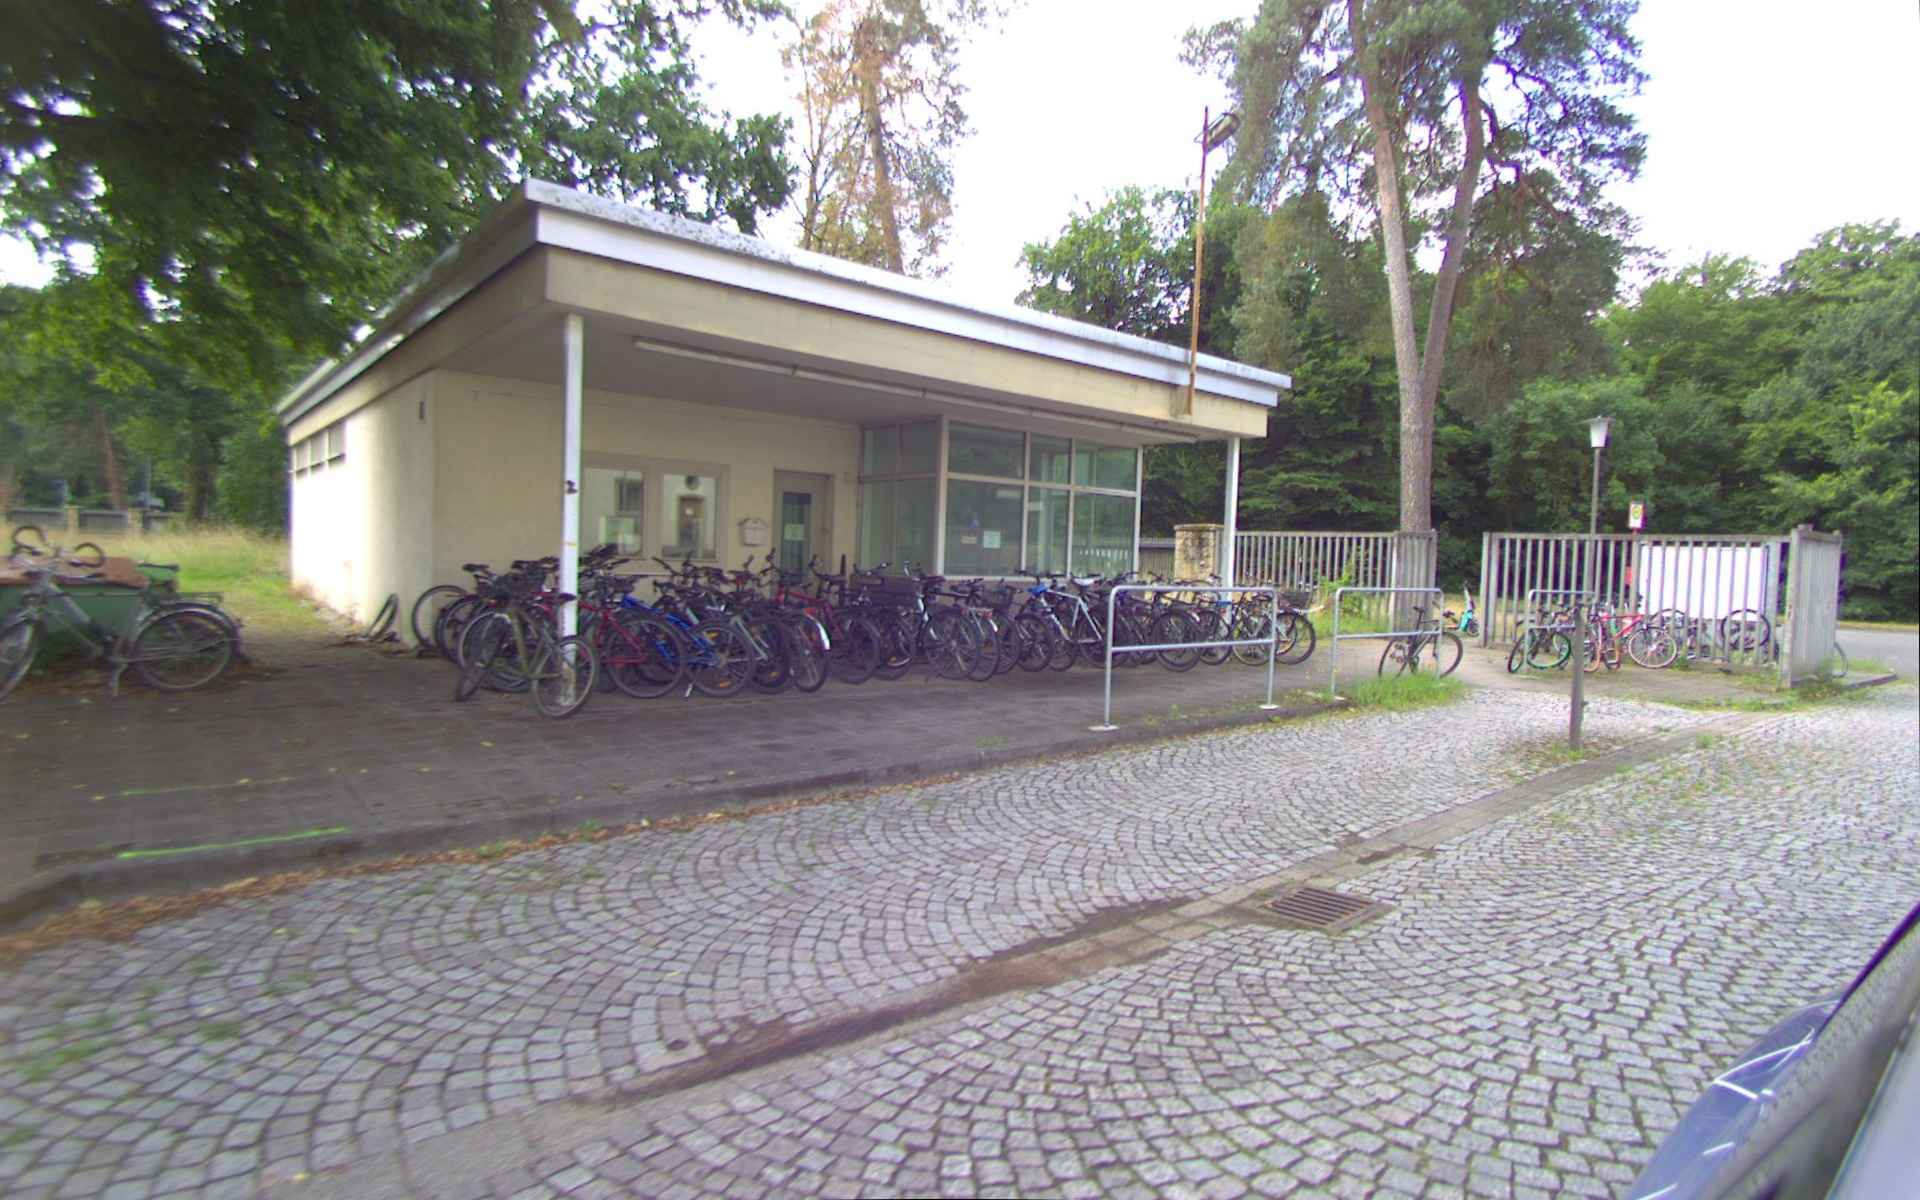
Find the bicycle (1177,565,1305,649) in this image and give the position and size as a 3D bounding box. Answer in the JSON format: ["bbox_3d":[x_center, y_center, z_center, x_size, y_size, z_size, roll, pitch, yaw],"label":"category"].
[{"bbox_3d":[4.087,0.094,14.804,1.710,1.146,0.473,2,2,6],"label":"bicycle"}]

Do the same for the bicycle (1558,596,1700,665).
[{"bbox_3d":[11.062,0.478,16.785,0.495,0.950,1.864,0,5,-45],"label":"bicycle"}]

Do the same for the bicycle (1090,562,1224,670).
[{"bbox_3d":[2.376,0.159,12.357,1.613,1.154,0.320,6,5,43],"label":"bicycle"}]

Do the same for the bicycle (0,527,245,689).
[{"bbox_3d":[-6.515,0.042,7.772,1.607,1.130,0.598,0,5,-42],"label":"bicycle"}]

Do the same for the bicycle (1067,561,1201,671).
[{"bbox_3d":[2.055,0.161,12.151,1.613,1.154,0.320,6,5,43],"label":"bicycle"}]

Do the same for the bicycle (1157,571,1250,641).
[{"bbox_3d":[3.734,0.097,15.512,1.328,1.022,0.407,1,2,-17],"label":"bicycle"}]

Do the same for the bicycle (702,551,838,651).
[{"bbox_3d":[-2.242,-0.007,12.103,0.478,1.088,1.658,6,4,38],"label":"bicycle"}]

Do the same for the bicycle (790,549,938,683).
[{"bbox_3d":[-1.014,0.127,10.425,1.627,1.204,0.414,6,4,38],"label":"bicycle"}]

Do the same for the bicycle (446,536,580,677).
[{"bbox_3d":[-4.352,0.015,9.789,0.598,1.179,1.743,0,5,-44],"label":"bicycle"}]

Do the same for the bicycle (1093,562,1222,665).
[{"bbox_3d":[2.491,0.143,12.890,1.613,1.154,0.350,6,5,43],"label":"bicycle"}]

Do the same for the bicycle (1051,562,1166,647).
[{"bbox_3d":[2.075,0.047,13.998,1.801,1.088,0.491,0,4,-42],"label":"bicycle"}]

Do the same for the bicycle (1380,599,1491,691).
[{"bbox_3d":[5.631,0.501,11.948,1.626,0.964,0.535,-1,4,-40],"label":"bicycle"}]

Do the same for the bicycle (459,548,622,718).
[{"bbox_3d":[-3.271,0.210,7.819,1.672,1.121,0.334,6,4,37],"label":"bicycle"}]

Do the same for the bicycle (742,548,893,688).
[{"bbox_3d":[-1.435,0.135,9.991,1.627,1.204,0.414,6,4,38],"label":"bicycle"}]

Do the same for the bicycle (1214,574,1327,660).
[{"bbox_3d":[4.172,0.209,13.614,1.390,1.058,0.336,3,2,24],"label":"bicycle"}]

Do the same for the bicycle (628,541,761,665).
[{"bbox_3d":[-2.939,-0.007,11.082,0.598,1.179,1.743,0,5,-44],"label":"bicycle"}]

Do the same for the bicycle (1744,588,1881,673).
[{"bbox_3d":[14.355,0.485,17.070,1.650,1.245,0.738,6,5,42],"label":"bicycle"}]

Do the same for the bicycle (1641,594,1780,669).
[{"bbox_3d":[12.285,0.489,16.621,0.380,1.045,1.731,0,4,-39],"label":"bicycle"}]

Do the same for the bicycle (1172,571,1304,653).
[{"bbox_3d":[3.890,0.157,14.250,1.723,1.058,0.453,2,2,11],"label":"bicycle"}]

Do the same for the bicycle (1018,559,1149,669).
[{"bbox_3d":[1.454,0.140,12.161,1.613,1.154,0.320,6,5,43],"label":"bicycle"}]

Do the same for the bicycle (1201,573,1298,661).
[{"bbox_3d":[3.789,0.204,13.274,1.143,1.076,0.284,3,2,29],"label":"bicycle"}]

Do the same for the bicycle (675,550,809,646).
[{"bbox_3d":[-2.658,-0.045,12.496,0.478,1.088,1.658,6,4,38],"label":"bicycle"}]

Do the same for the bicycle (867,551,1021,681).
[{"bbox_3d":[-0.196,0.132,10.678,1.627,1.204,0.492,6,4,38],"label":"bicycle"}]

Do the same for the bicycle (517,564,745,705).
[{"bbox_3d":[-2.786,0.247,8.583,1.725,0.988,0.754,5,4,20],"label":"bicycle"}]

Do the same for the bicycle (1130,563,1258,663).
[{"bbox_3d":[3.051,0.138,13.314,1.613,1.154,0.350,6,5,43],"label":"bicycle"}]

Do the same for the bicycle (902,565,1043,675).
[{"bbox_3d":[0.115,0.190,11.252,1.626,1.062,0.330,6,4,36],"label":"bicycle"}]

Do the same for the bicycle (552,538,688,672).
[{"bbox_3d":[-3.504,0.009,10.349,0.598,1.179,1.743,0,5,-44],"label":"bicycle"}]

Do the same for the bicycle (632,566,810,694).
[{"bbox_3d":[-2.151,0.245,9.058,1.615,0.988,0.320,5,3,20],"label":"bicycle"}]

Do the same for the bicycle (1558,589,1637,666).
[{"bbox_3d":[9.565,0.385,15.159,1.702,1.070,0.474,0,3,-41],"label":"bicycle"}]

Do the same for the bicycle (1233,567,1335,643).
[{"bbox_3d":[5.213,0.069,16.263,1.648,1.152,0.650,0,3,-34],"label":"bicycle"}]

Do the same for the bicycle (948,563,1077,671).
[{"bbox_3d":[0.569,0.163,11.596,1.592,1.062,0.320,6,5,43],"label":"bicycle"}]

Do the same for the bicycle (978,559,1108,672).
[{"bbox_3d":[0.933,0.146,11.756,1.592,1.154,0.320,6,5,43],"label":"bicycle"}]

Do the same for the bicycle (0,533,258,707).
[{"bbox_3d":[-6.092,0.117,7.310,1.607,1.130,0.598,0,5,-42],"label":"bicycle"}]

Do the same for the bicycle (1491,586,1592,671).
[{"bbox_3d":[8.093,0.369,14.070,1.538,1.075,0.692,0,3,-40],"label":"bicycle"}]

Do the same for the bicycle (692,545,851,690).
[{"bbox_3d":[-1.814,0.125,9.598,1.626,1.204,0.467,6,4,37],"label":"bicycle"}]
